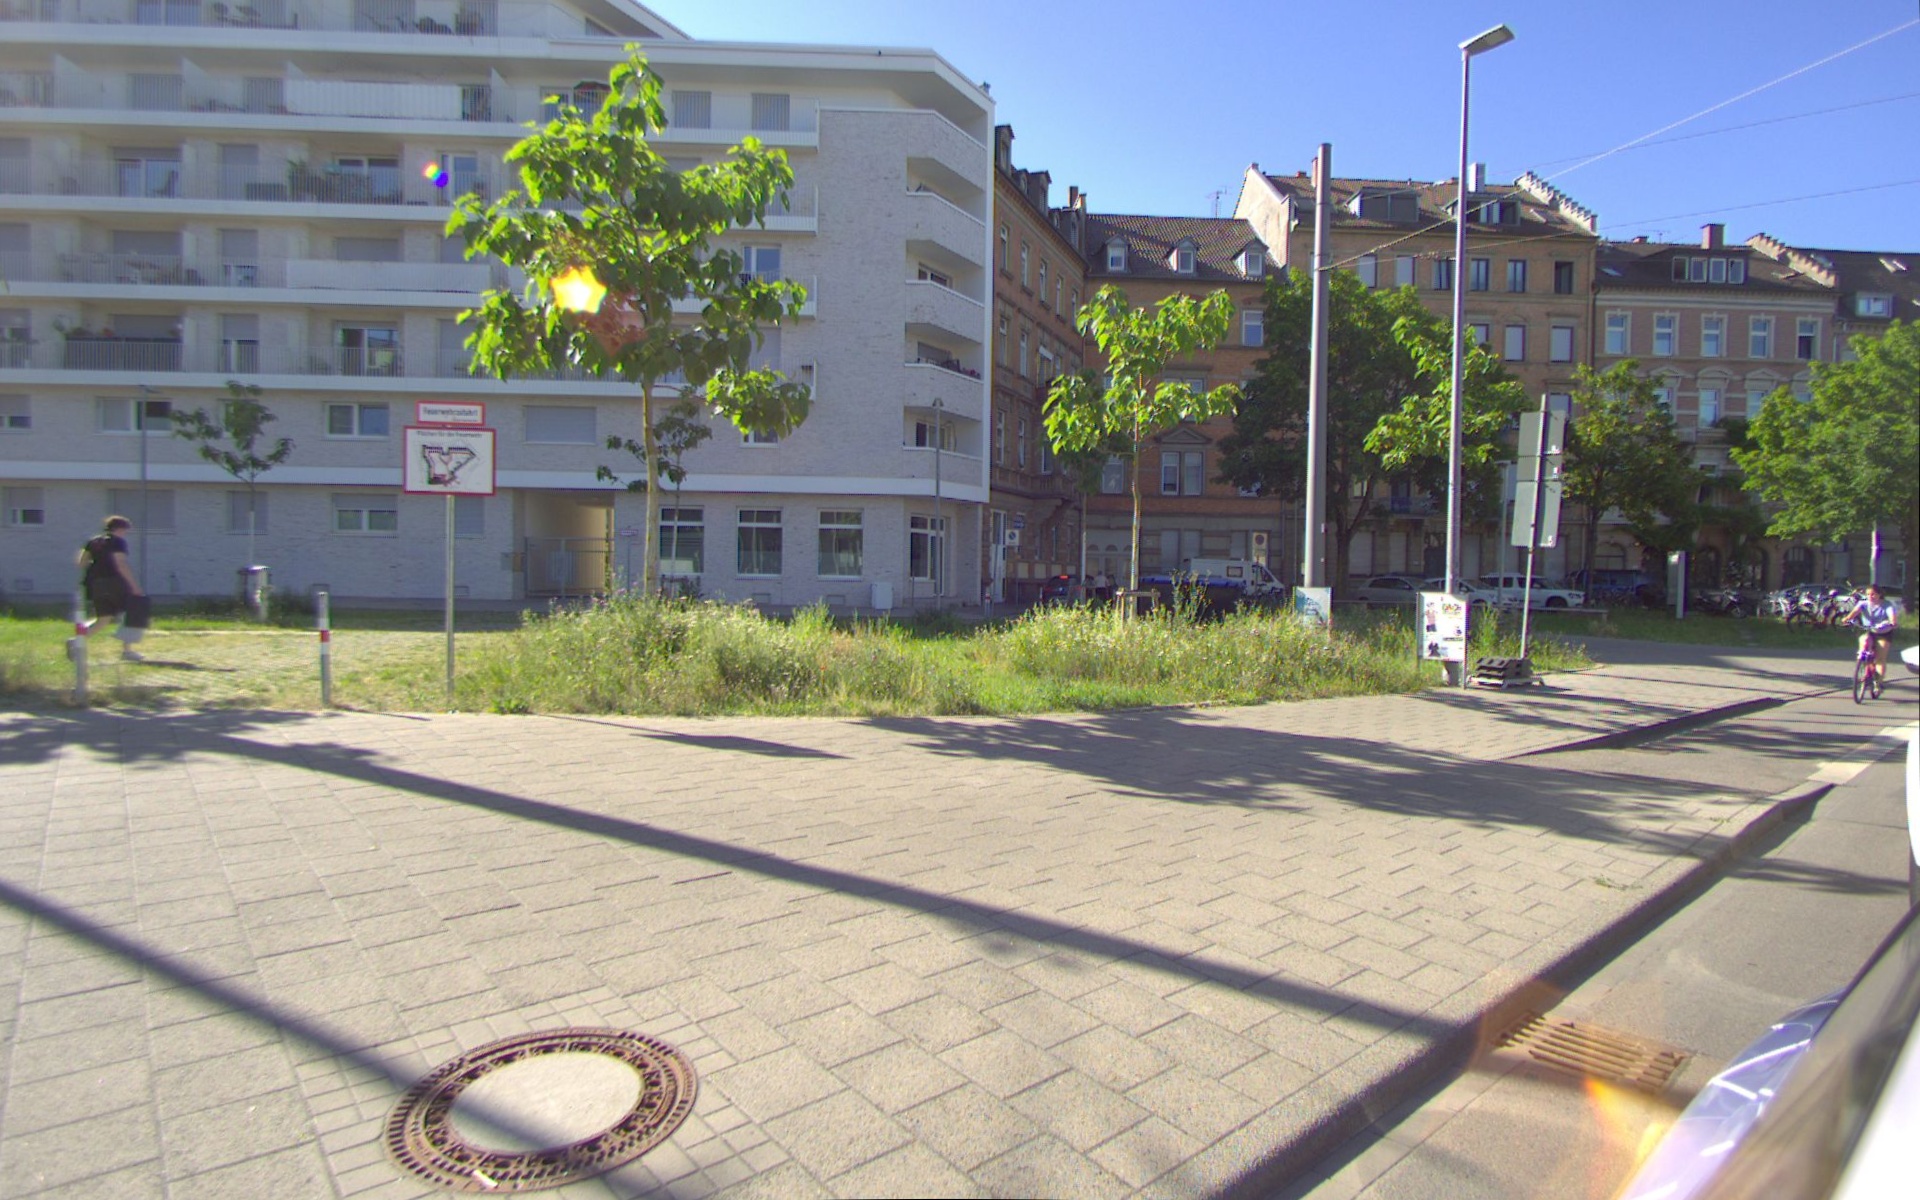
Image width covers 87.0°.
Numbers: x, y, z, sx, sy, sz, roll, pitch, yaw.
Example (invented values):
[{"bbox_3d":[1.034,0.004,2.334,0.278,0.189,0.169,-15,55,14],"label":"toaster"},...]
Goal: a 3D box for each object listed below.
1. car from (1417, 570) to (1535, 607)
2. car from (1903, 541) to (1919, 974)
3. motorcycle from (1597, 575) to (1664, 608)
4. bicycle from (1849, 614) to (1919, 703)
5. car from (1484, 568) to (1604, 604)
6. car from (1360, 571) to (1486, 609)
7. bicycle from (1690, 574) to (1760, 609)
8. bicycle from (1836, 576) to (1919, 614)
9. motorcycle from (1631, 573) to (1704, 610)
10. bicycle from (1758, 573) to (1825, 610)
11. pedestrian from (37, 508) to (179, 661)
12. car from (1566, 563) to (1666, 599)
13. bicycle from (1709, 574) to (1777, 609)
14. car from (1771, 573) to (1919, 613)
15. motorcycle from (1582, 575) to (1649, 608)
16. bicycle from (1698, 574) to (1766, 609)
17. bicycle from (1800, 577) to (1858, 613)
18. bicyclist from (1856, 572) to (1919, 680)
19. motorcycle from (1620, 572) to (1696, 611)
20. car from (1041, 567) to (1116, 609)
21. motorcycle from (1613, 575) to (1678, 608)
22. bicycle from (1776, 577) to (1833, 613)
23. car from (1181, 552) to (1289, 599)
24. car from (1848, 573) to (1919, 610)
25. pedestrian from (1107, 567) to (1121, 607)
[{"bbox_3d":[19.667,-0.471,38.719,1.648,1.267,3.709,0,3,-28],"label":"car"},{"bbox_3d":[5.864,0.605,4.718,4.323,1.667,1.840,0,0,-43],"label":"car"},{"bbox_3d":[26.692,-0.340,40.359,0.649,1.300,2.324,0,0,-18],"label":"motorcycle"},{"bbox_3d":[13.107,0.790,14.317,0.667,1.085,1.791,5,4,44],"label":"bicycle"},{"bbox_3d":[22.324,-0.582,38.775,1.513,1.267,3.700,-1,3,-39],"label":"car"},{"bbox_3d":[17.344,-0.425,38.109,1.648,1.267,4.170,0,3,-28],"label":"car"},{"bbox_3d":[28.364,-0.314,37.567,0.649,1.284,2.208,0,0,-11],"label":"bicycle"},{"bbox_3d":[31.624,-0.170,34.765,2.180,1.284,0.657,0,0,25],"label":"bicycle"},{"bbox_3d":[26.149,-0.325,37.470,0.649,1.339,2.208,0,0,-23],"label":"motorcycle"},{"bbox_3d":[29.269,-0.296,35.675,0.651,1.284,2.202,0,0,4],"label":"bicycle"},{"bbox_3d":[-10.088,-0.195,12.020,0.829,1.717,0.985,2,2,2],"label":"pedestrian"},{"bbox_3d":[30.870,-0.925,47.652,3.631,1.607,1.552,1,2,0],"label":"car"},{"bbox_3d":[29.719,-0.330,38.465,0.649,1.284,2.208,0,0,-9],"label":"bicycle"},{"bbox_3d":[34.680,-0.325,39.594,1.651,1.423,4.324,-1,3,-38],"label":"car"},{"bbox_3d":[26.021,-0.332,40.227,0.649,1.293,2.324,0,0,-18],"label":"motorcycle"},{"bbox_3d":[29.075,-0.323,38.154,0.649,1.284,2.208,0,0,-9],"label":"bicycle"},{"bbox_3d":[32.030,-0.197,37.336,0.653,1.284,2.196,0,0,12],"label":"bicycle"},{"bbox_3d":[13.123,0.344,14.273,0.667,1.454,0.925,2,1,44],"label":"bicyclist"},{"bbox_3d":[25.333,-0.310,36.781,0.650,1.347,2.207,0,0,-28],"label":"motorcycle"},{"bbox_3d":[4.561,-0.507,38.299,1.811,1.444,4.359,1,2,21],"label":"car"},{"bbox_3d":[27.483,-0.338,40.613,0.649,1.284,2.209,0,0,-18],"label":"motorcycle"},{"bbox_3d":[30.935,-0.189,37.112,0.653,1.284,2.196,0,0,12],"label":"bicycle"},{"bbox_3d":[12.655,-1.157,46.785,4.416,2.062,2.054,1,2,0],"label":"car"},{"bbox_3d":[37.817,-0.333,39.964,1.649,1.423,3.832,-1,3,-32],"label":"car"},{"bbox_3d":[5.779,-0.485,37.924,0.500,1.474,0.480,0,0,11],"label":"pedestrian"}]
